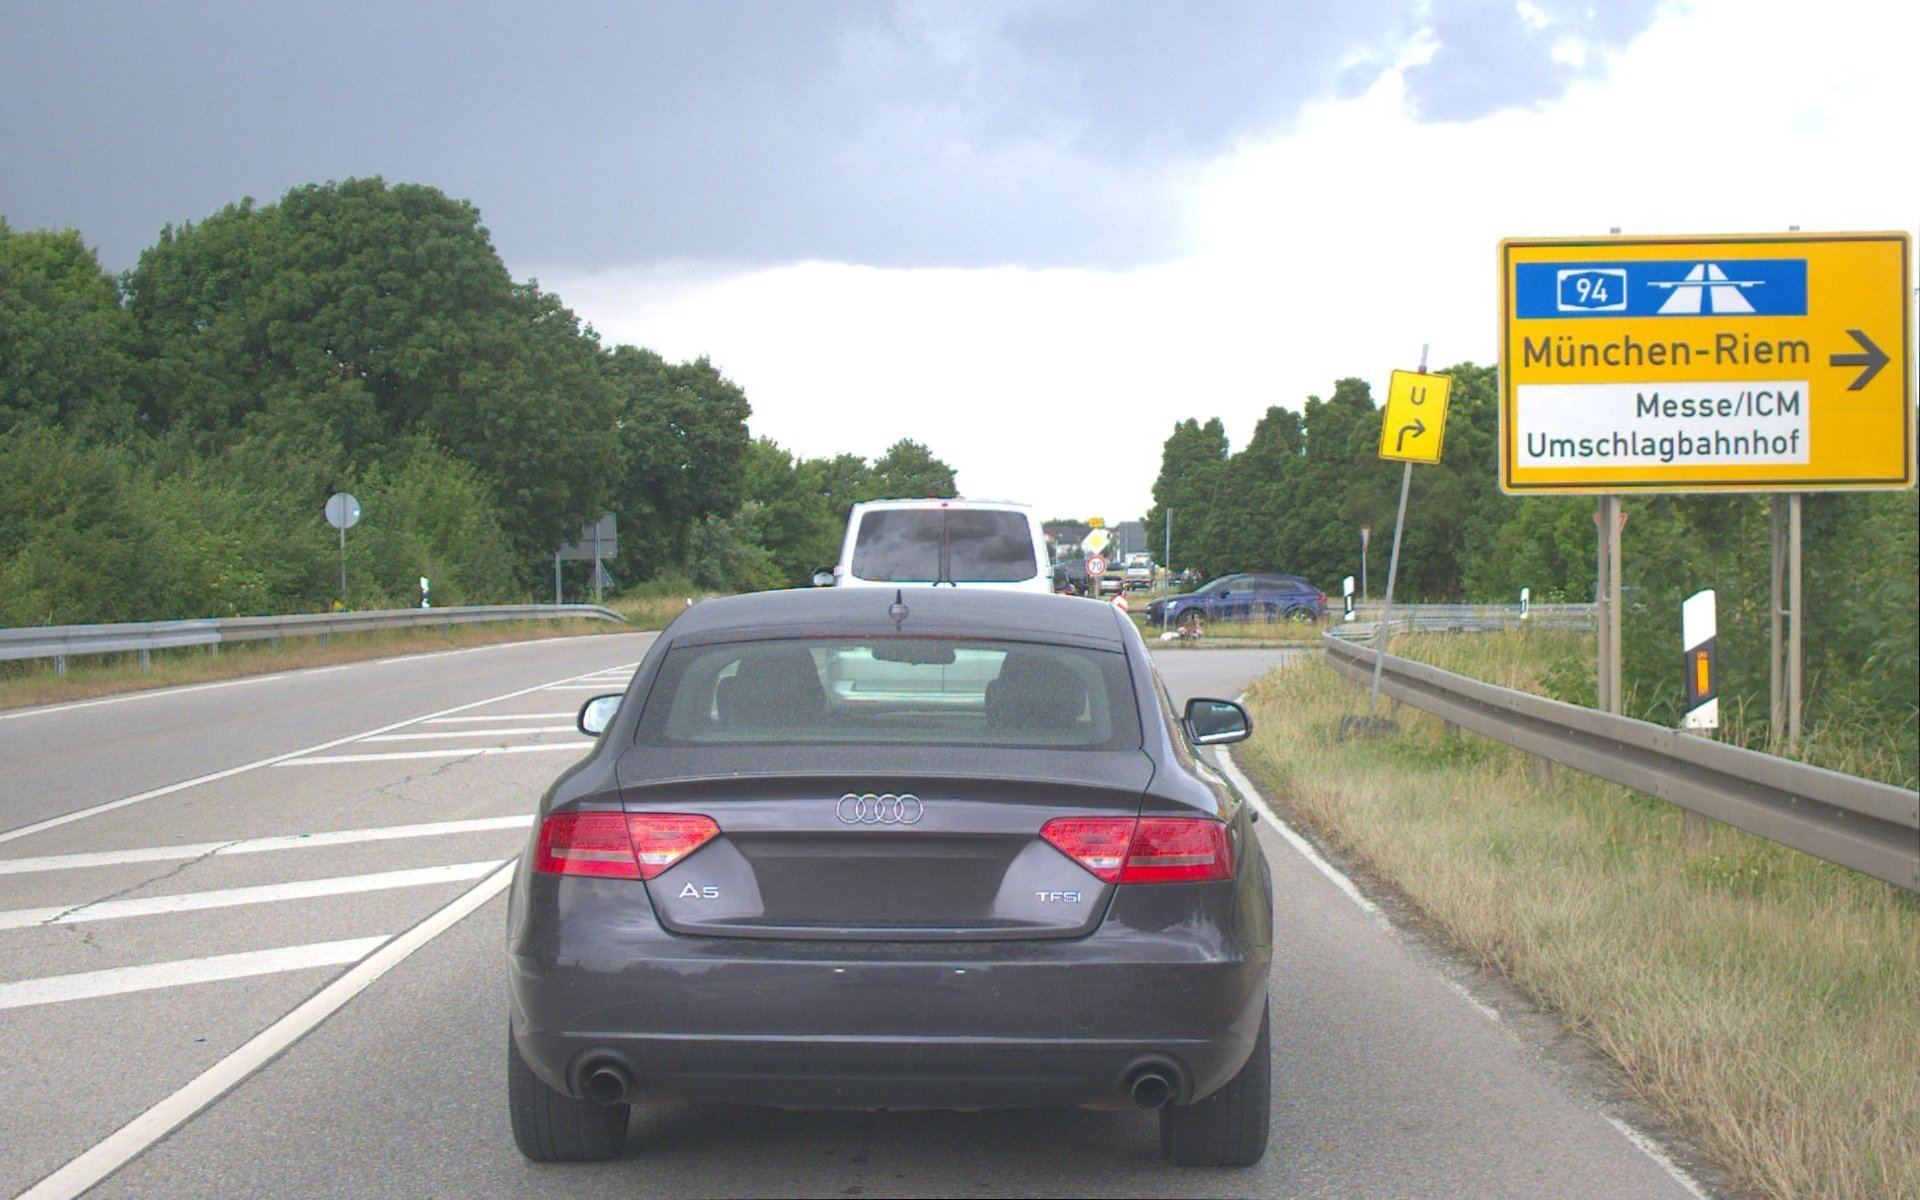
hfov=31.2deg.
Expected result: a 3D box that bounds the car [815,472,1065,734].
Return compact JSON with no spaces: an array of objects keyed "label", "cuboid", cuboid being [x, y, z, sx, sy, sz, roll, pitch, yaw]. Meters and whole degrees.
[{"label":"car","cuboid":[-0.168,-0.009,28.614,1.910,2.007,4.000,1,1,0]}]

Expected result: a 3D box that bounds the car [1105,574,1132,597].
[{"label":"car","cuboid":[11.957,-1.105,259.984,1.994,1.686,4.000,1,1,2]}]

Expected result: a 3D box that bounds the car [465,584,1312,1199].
[{"label":"car","cuboid":[-0.169,0.671,8.921,1.779,1.394,3.336,0,1,-1]}]

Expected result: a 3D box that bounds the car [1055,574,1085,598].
[{"label":"car","cuboid":[7.024,-0.898,220.007,1.734,1.449,4.000,1,1,-1]}]
